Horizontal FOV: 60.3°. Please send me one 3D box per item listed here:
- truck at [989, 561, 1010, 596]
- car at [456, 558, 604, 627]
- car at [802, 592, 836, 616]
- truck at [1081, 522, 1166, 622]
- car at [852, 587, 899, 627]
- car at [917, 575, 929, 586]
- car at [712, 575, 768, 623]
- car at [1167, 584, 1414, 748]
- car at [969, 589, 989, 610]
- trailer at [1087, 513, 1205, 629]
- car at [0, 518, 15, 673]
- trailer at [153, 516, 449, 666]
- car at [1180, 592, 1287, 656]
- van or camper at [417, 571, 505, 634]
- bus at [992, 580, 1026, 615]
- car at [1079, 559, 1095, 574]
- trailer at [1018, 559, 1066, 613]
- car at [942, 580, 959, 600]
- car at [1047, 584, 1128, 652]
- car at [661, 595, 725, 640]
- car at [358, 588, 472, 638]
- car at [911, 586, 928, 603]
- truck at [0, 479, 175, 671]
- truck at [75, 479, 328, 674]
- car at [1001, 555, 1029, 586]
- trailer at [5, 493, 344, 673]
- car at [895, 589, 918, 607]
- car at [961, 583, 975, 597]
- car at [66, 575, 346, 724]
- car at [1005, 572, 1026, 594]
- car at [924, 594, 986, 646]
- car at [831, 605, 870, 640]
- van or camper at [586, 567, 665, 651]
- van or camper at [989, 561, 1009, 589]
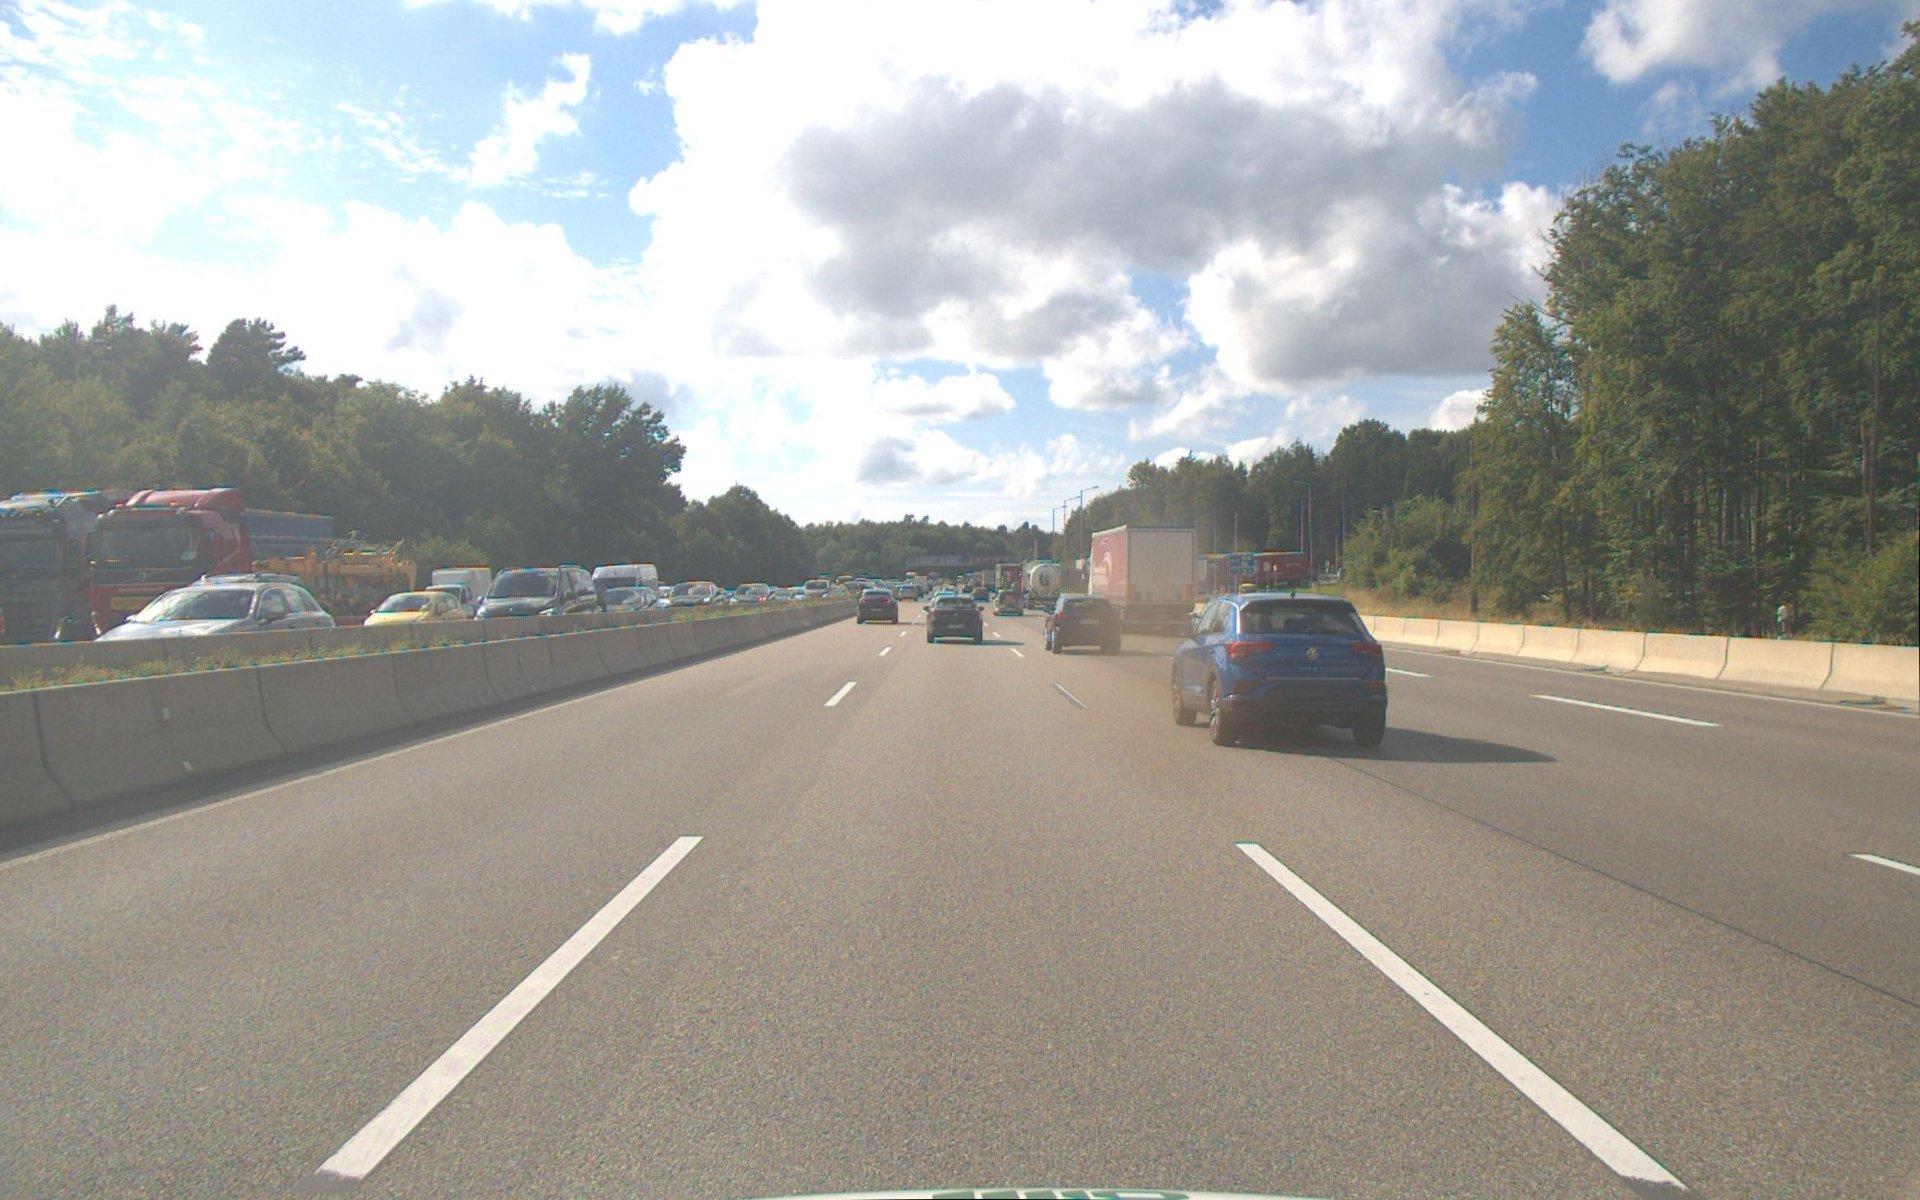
[{"bbox_3d":[4.621,-2.444,193.583,2.309,3.635,11.266,1,-1,1],"label":"truck"},{"bbox_3d":[-9.403,-0.164,36.729,1.778,1.372,6.231,1,0,-2],"label":"car"},{"bbox_3d":[-10.100,0.281,118.837,1.952,1.600,4.816,0,1,1],"label":"car"},{"bbox_3d":[7.155,-1.150,73.051,3.017,4.135,6.068,1,-1,-1],"label":"truck"},{"bbox_3d":[-3.922,0.307,77.284,1.953,1.807,4.000,0,0,0],"label":"car"},{"bbox_3d":[-5.301,-2.834,237.384,1.590,1.496,3.814,2,0,0],"label":"car"},{"bbox_3d":[-9.883,-0.067,74.570,1.844,2.049,4.519,1,0,1],"label":"car"},{"bbox_3d":[3.511,0.690,18.449,1.884,1.568,4.645,1,-1,1],"label":"car"},{"bbox_3d":[1.975,-0.035,169.988,1.953,2.049,3.999,1,0,-1],"label":"car"},{"bbox_3d":[7.230,-0.930,66.347,2.976,4.106,13.886,1,-1,-1],"label":"trailer"},{"bbox_3d":[-9.389,-0.098,12.152,1.812,1.378,5.486,1,-1,-1],"label":"car"},{"bbox_3d":[-17.284,-0.265,44.963,2.673,3.394,14.216,1,1,-2],"label":"trailer"},{"bbox_3d":[6.927,0.605,42.360,1.681,1.538,4.297,0,0,-5],"label":"car"},{"bbox_3d":[-25.616,0.119,85.231,2.520,3.131,7.193,0,0,-2],"label":"van or camper"},{"bbox_3d":[2.989,-0.131,101.751,1.953,2.049,3.999,1,-1,0],"label":"bus"},{"bbox_3d":[18.280,-4.758,238.287,1.953,2.049,3.999,-1,0,-1],"label":"car"},{"bbox_3d":[6.399,-1.017,130.729,2.974,4.086,12.242,0,-1,-1],"label":"trailer"},{"bbox_3d":[-1.073,-1.127,188.458,1.953,2.049,3.999,-1,-1,-1],"label":"car"},{"bbox_3d":[3.304,0.471,43.492,1.762,1.673,4.000,1,0,0],"label":"car"},{"bbox_3d":[-10.110,0.629,62.866,1.799,1.619,4.288,1,0,-2],"label":"car"},{"bbox_3d":[-13.390,0.303,40.837,1.553,1.146,3.999,1,0,-2],"label":"car"},{"bbox_3d":[-4.853,-0.668,197.174,1.953,2.049,3.999,1,0,-1],"label":"car"},{"bbox_3d":[-21.208,-0.572,39.100,2.754,4.222,5.451,1,0,-2],"label":"truck"},{"bbox_3d":[-17.102,-0.509,37.866,2.720,4.007,6.851,1,0,-2],"label":"truck"},{"bbox_3d":[5.839,-3.133,175.695,2.807,3.044,5.149,1,-1,1],"label":"car"},{"bbox_3d":[-21.216,-0.458,46.204,2.752,4.191,14.041,1,0,0],"label":"trailer"},{"bbox_3d":[-5.414,-0.180,167.752,2.110,1.807,4.000,1,0,0],"label":"car"},{"bbox_3d":[1.234,-1.571,256.379,1.953,2.049,3.999,1,0,-1],"label":"car"},{"bbox_3d":[-9.185,0.553,20.531,1.688,1.631,3.999,1,0,-2],"label":"car"},{"bbox_3d":[5.573,-1.675,166.455,1.953,2.049,3.999,1,-1,-1],"label":"car"},{"bbox_3d":[-0.181,0.597,51.390,1.699,1.388,3.998,1,2,-3],"label":"car"},{"bbox_3d":[-6.505,1.318,98.748,1.952,1.954,4.001,1,1,1],"label":"car"},{"bbox_3d":[-13.647,0.325,67.877,2.095,3.228,6.243,1,0,-2],"label":"van or camper"},{"bbox_3d":[4.746,-2.970,200.531,2.303,3.199,5.710,1,-1,1],"label":"van or camper"}]
